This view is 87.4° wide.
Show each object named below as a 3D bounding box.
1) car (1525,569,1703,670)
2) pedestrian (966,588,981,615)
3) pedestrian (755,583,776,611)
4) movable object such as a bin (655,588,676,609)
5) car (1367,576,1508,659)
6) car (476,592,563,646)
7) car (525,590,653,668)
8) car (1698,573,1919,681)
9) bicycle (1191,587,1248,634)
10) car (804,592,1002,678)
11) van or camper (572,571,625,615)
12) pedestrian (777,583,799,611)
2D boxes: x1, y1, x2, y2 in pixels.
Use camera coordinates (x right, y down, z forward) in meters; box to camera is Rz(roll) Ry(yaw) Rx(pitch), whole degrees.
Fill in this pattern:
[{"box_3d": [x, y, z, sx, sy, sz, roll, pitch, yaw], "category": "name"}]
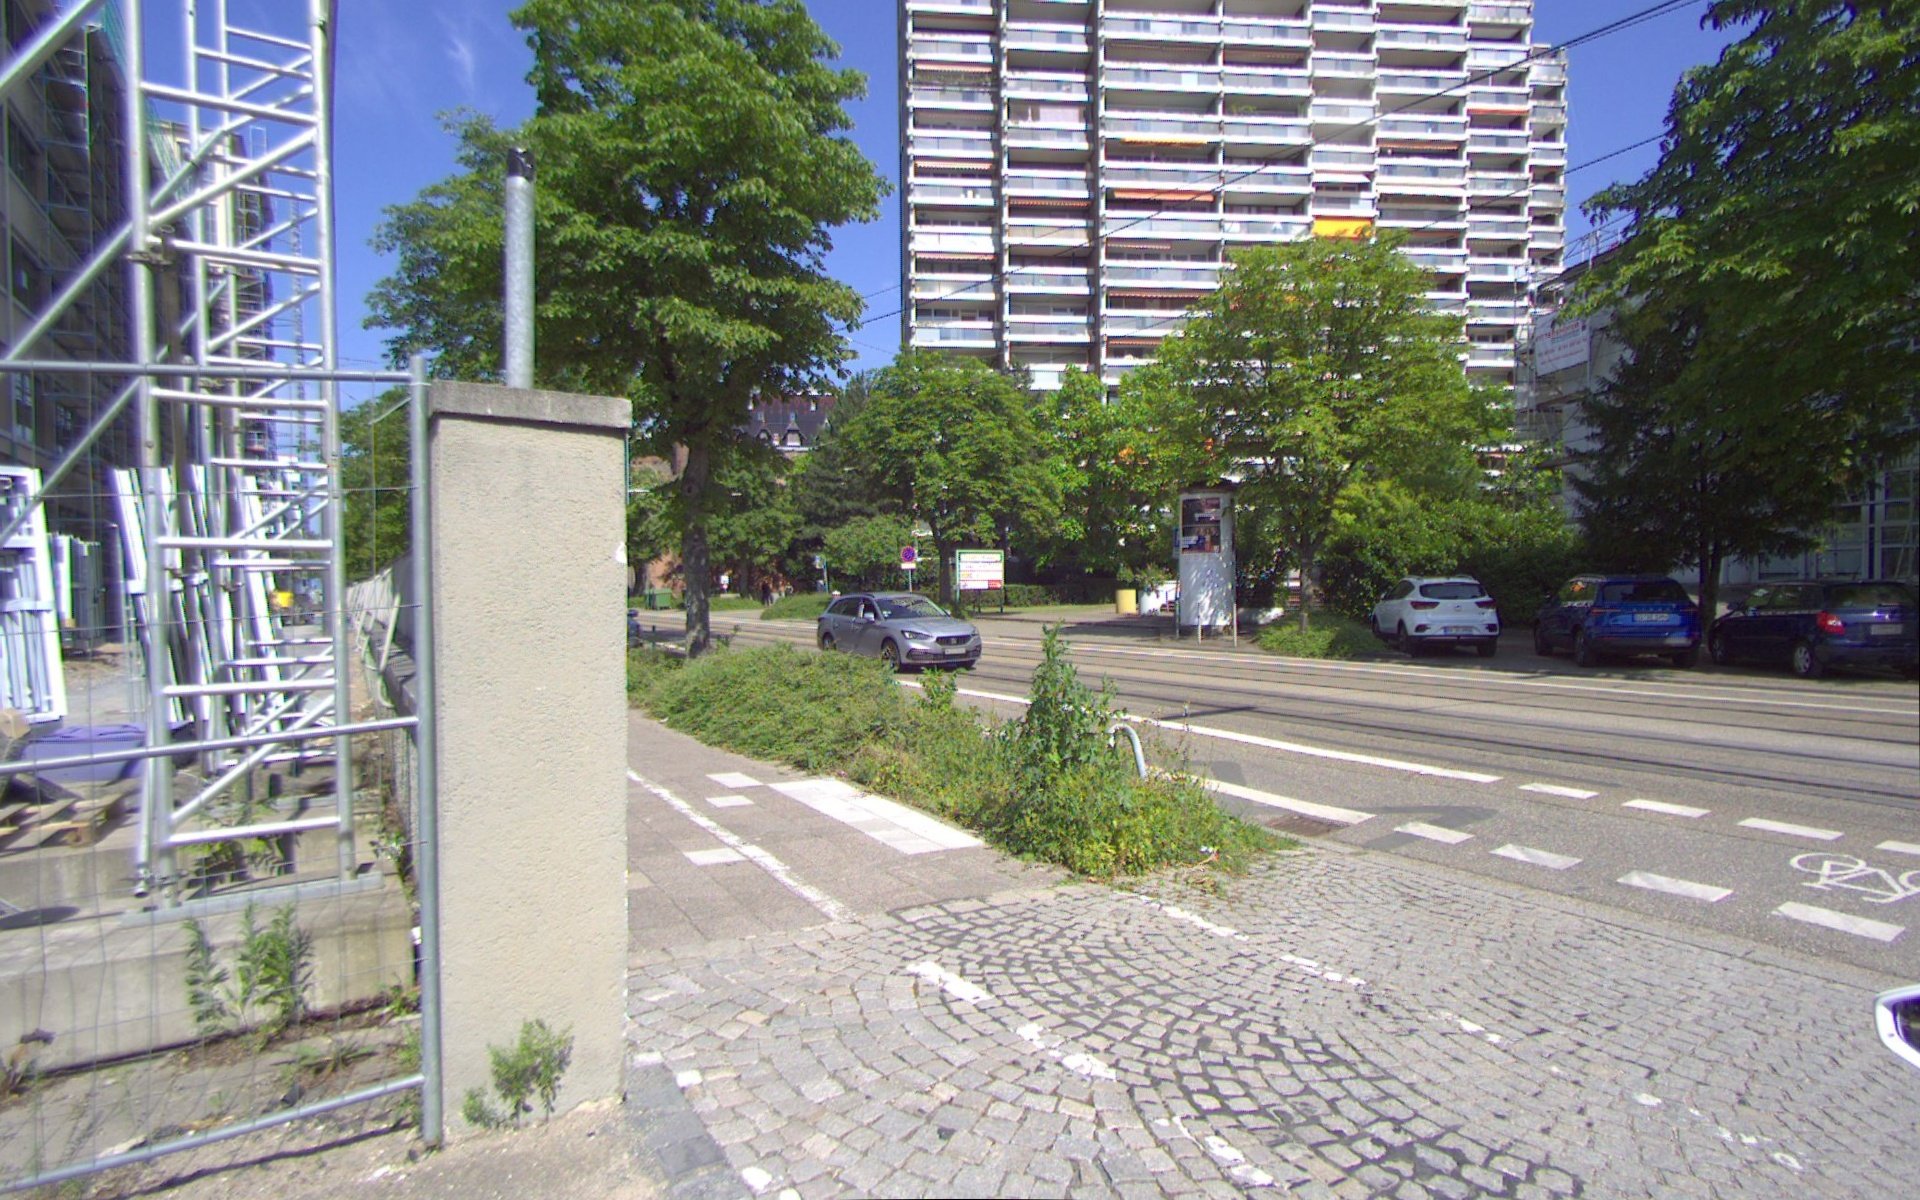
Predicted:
[{"box_3d": [12.086, 0.290, 18.842, 1.745, 1.644, 3.945, -1, 2, 17], "category": "car"}, {"box_3d": [0.598, 0.076, 44.544, 0.525, 1.170, 0.700, -1, 1, -10], "category": "pedestrian"}, {"box_3d": [-13.169, -0.215, 67.951, 1.047, 1.822, 1.254, 1, 1, -30], "category": "pedestrian"}, {"box_3d": [-20.853, -0.085, 71.073, 1.249, 1.473, 1.072, 0, 1, -27], "category": "movable object such as a bin"}, {"box_3d": [10.144, 0.312, 21.650, 1.783, 1.628, 3.947, 0, 1, 10], "category": "car"}, {"box_3d": [-13.225, 0.510, 30.038, 1.801, 1.473, 3.965, -1, 1, -32], "category": "car"}, {"box_3d": [-8.115, 0.550, 21.776, 1.801, 1.514, 4.071, -1, 1, -32], "category": "car"}, {"box_3d": [13.686, 0.362, 16.238, 1.544, 1.551, 3.460, 0, 1, 12], "category": "car"}, {"box_3d": [7.450, 0.291, 28.871, 0.542, 1.326, 1.604, -1, 1, -37], "category": "bicycle"}, {"box_3d": [-1.254, 0.590, 19.669, 1.872, 1.427, 4.552, -2, 2, -33], "category": "car"}, {"box_3d": [-23.355, -0.469, 64.723, 2.028, 2.655, 5.810, -1, 1, -32], "category": "van or camper"}, {"box_3d": [-11.286, -0.188, 65.758, 1.047, 1.822, 1.255, 1, 1, -28], "category": "pedestrian"}]
